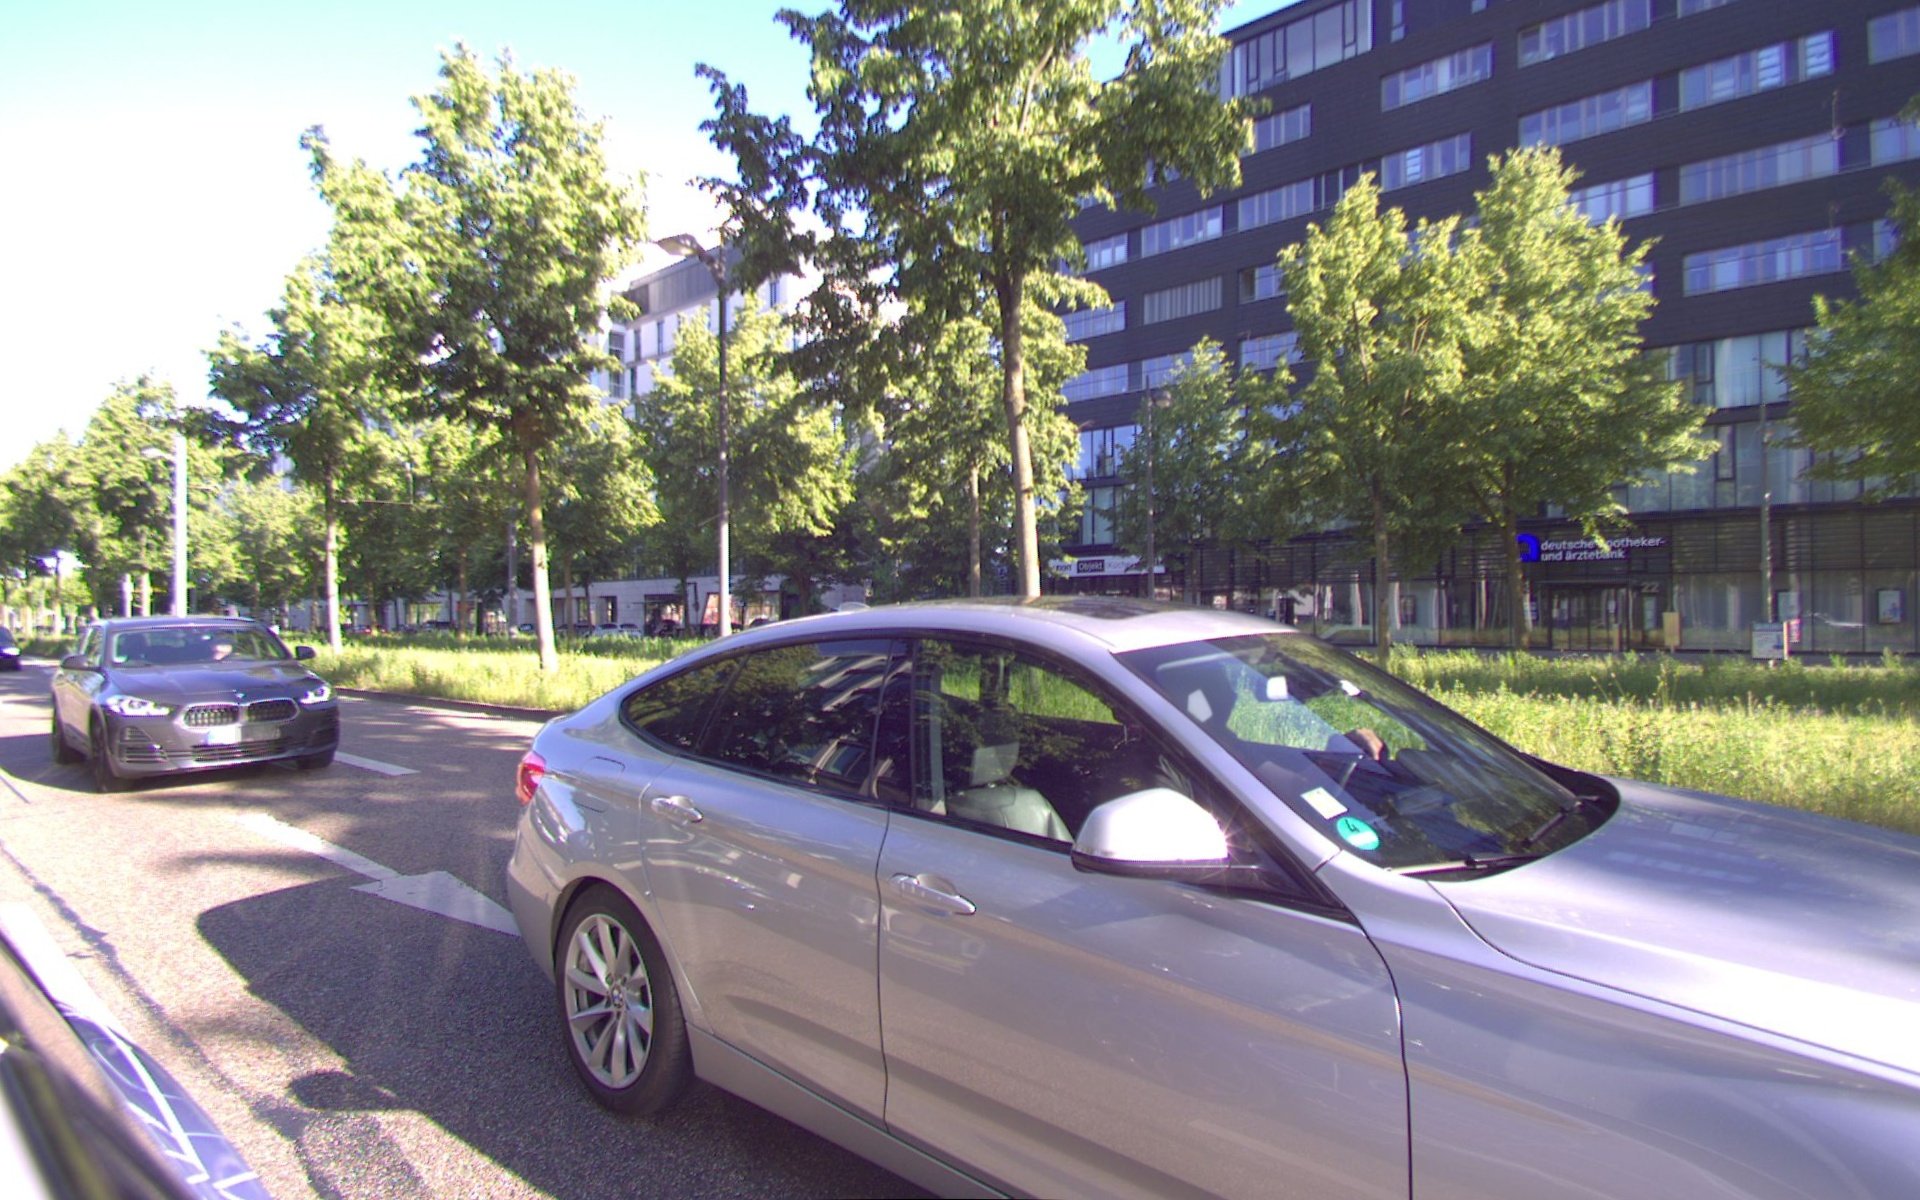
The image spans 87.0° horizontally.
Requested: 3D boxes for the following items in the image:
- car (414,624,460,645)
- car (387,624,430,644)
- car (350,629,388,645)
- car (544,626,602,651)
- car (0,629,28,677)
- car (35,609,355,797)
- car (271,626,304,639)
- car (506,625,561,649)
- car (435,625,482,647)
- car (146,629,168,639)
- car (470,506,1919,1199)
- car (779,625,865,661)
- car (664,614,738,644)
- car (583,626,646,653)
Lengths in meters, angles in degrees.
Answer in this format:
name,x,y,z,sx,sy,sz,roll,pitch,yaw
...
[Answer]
name,x,y,z,sx,sy,sz,roll,pitch,yaw
car,-42.118,2.781,81.487,4.182,1.609,1.859,-2,-1,41
car,-46.573,2.851,85.383,4.182,1.609,1.859,-2,-1,41
car,-53.183,3.315,91.032,4.001,1.406,1.971,-2,-2,44
car,-25.687,2.522,67.061,4.182,1.609,1.859,-2,-1,41
car,-30.993,1.649,32.032,4.344,1.434,1.854,-1,-1,43
car,-7.759,0.867,10.131,3.999,1.502,1.837,-1,-1,42
car,-72.517,3.500,109.071,3.998,1.406,1.972,-2,-2,41
car,-29.716,2.588,70.473,4.182,1.609,1.859,-2,-1,41
car,-38.656,2.735,77.980,4.182,1.609,1.859,-2,-1,41
car,-114.609,4.818,144.507,4.001,1.406,1.971,-2,-2,44
car,0.681,0.675,2.571,4.558,1.495,1.800,-1,-1,40
car,-6.755,2.072,49.392,4.182,1.609,1.926,-2,-1,41
car,-14.345,1.585,55.988,4.182,1.609,1.926,-2,-1,41
car,-21.585,2.462,63.168,4.182,1.609,1.859,-2,-1,41
